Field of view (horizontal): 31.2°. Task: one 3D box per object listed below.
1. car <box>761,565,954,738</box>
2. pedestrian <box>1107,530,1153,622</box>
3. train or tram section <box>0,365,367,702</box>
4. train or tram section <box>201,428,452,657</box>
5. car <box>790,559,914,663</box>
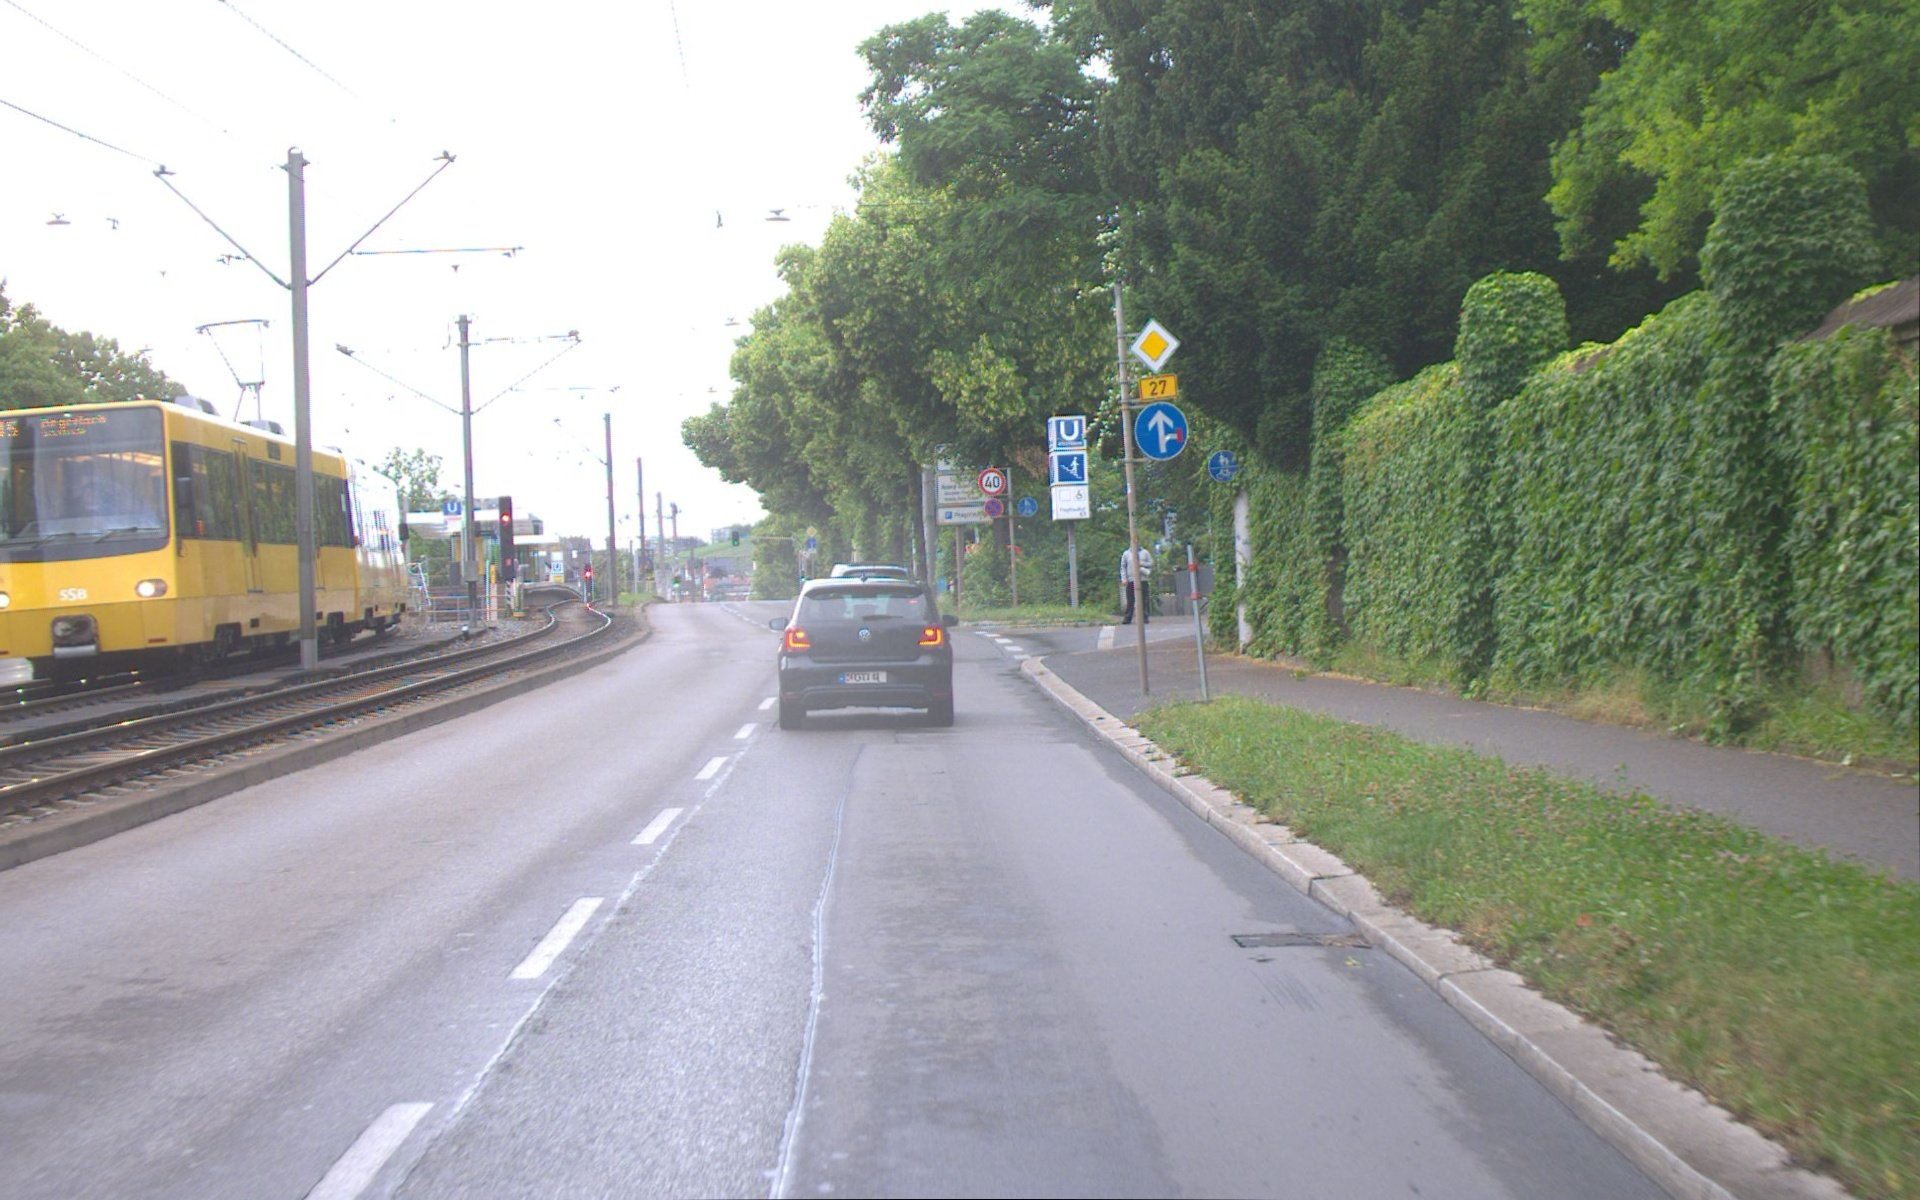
[{"bbox_3d":[-0.957,0.454,33.691,1.726,1.535,4.000,-2,1,0],"label":"car"},{"bbox_3d":[3.480,-0.498,70.370,0.855,1.847,0.737,-1,0,-1],"label":"pedestrian"},{"bbox_3d":[-11.324,-0.898,51.021,2.828,3.962,20.031,-2,1,-4],"label":"train or tram section"},{"bbox_3d":[-12.542,-1.122,69.847,2.828,3.962,17.879,-2,1,-4],"label":"train or tram section"},{"bbox_3d":[-1.721,0.147,53.631,1.687,1.512,4.001,-2,1,-5],"label":"car"}]
